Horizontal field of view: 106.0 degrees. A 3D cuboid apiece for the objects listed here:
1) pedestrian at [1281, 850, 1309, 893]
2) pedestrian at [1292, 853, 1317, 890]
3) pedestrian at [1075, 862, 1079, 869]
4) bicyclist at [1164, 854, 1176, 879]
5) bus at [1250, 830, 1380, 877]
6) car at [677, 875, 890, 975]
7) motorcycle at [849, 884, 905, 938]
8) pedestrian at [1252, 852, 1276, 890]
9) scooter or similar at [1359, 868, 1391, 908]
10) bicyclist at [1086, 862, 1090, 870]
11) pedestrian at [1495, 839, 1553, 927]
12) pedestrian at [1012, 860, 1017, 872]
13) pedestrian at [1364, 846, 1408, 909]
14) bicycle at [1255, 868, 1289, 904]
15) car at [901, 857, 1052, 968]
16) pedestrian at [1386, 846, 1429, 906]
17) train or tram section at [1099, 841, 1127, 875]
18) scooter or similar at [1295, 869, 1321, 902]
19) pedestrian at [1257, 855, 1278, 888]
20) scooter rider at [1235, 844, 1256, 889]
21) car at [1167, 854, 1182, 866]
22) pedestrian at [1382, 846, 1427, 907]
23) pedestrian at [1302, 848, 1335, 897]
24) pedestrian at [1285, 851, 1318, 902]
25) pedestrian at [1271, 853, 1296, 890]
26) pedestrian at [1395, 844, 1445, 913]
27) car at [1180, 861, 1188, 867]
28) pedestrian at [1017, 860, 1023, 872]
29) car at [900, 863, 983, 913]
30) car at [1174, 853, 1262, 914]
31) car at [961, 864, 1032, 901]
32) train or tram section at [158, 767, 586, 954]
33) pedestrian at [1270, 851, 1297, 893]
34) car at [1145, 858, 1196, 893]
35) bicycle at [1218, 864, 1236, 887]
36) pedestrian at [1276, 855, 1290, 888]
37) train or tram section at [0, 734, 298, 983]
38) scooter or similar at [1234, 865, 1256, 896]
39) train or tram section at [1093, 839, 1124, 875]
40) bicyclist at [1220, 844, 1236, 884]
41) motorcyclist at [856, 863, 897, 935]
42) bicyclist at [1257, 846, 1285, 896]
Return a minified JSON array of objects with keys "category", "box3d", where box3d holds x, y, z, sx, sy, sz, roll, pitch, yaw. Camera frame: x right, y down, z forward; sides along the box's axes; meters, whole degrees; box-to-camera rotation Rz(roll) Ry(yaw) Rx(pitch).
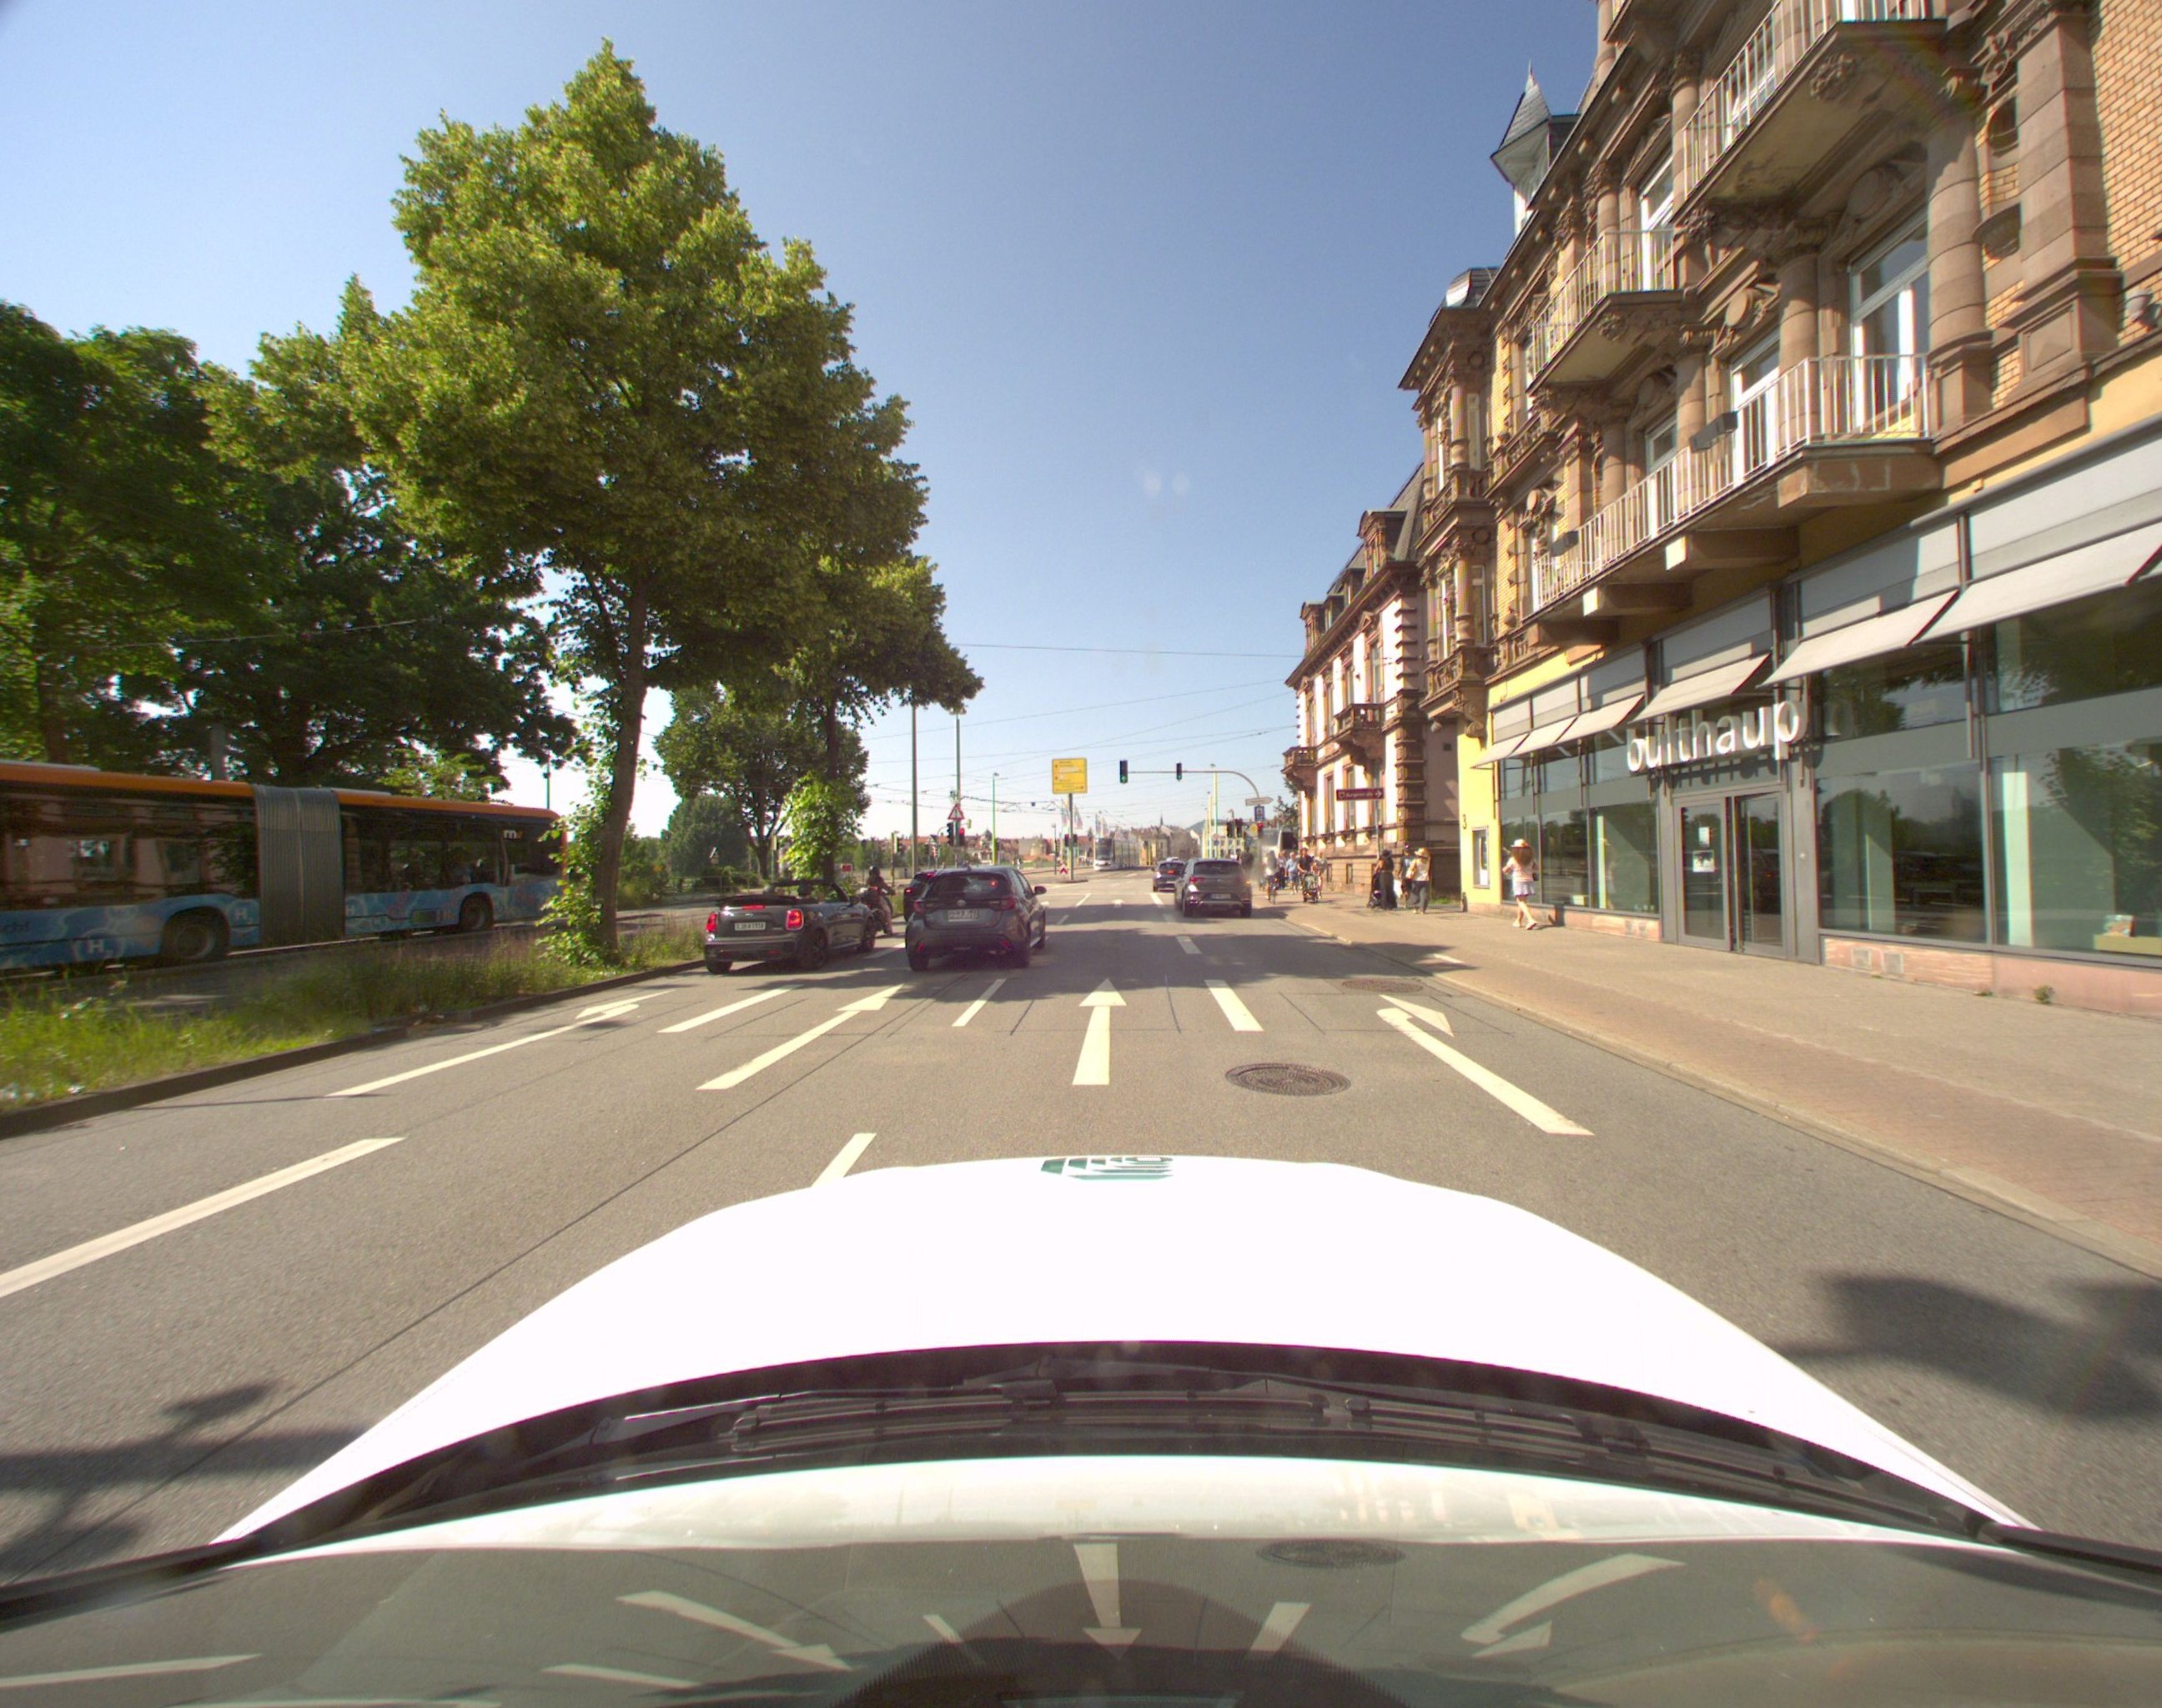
[{"category":"pedestrian","box3d":[8.321,0.674,31.730,0.859,1.640,0.876,1,-1,2]},{"category":"pedestrian","box3d":[9.906,0.773,36.169,0.859,1.640,0.876,1,-1,2]},{"category":"pedestrian","box3d":[-0.746,2.122,149.417,0.556,1.416,0.636,1,-1,1]},{"category":"bicyclist","box3d":[5.763,0.789,52.845,0.685,1.577,1.050,1,-1,2]},{"category":"bus","box3d":[15.753,0.029,54.583,8.658,2.777,2.953,2,-1,-27]},{"category":"car","box3d":[-4.771,1.084,13.758,1.807,1.332,4.004,-3,-2,4]},{"category":"motorcycle","box3d":[-4.531,1.253,18.229,0.696,1.064,1.910,-2,-1,1]},{"category":"pedestrian","box3d":[8.058,0.751,35.832,0.859,1.640,0.876,1,-1,2]},{"category":"scooter or similar","box3d":[8.083,0.929,22.401,0.598,1.047,0.800,1,-1,1]},{"category":"bicyclist","box3d":[1.338,2.325,155.805,0.556,1.537,0.744,1,-1,2]},{"category":"pedestrian","box3d":[8.427,0.535,15.524,0.652,1.621,0.816,-1,0,2]},{"category":"pedestrian","box3d":[-8.378,1.522,102.894,0.556,1.416,0.636,1,-1,1]},{"category":"pedestrian","box3d":[8.115,0.621,21.701,0.859,1.640,0.876,1,-1,2]},{"category":"bicycle","box3d":[6.116,1.006,26.170,0.731,1.093,1.899,1,-1,3]},{"category":"car","box3d":[-1.518,0.856,13.246,1.770,1.475,4.001,-2,-1,2]},{"category":"pedestrian","box3d":[9.065,0.608,22.641,0.859,1.640,0.876,1,-1,2]},{"category":"train or tram section","box3d":[3.911,0.511,98.141,2.809,3.777,8.238,1,-1,5]},{"category":"scooter or similar","box3d":[7.256,1.004,26.059,0.598,1.047,0.800,1,-1,1]},{"category":"pedestrian","box3d":[9.323,0.881,40.824,0.859,1.640,0.876,1,-1,2]},{"category":"scooter rider","box3d":[6.427,0.477,31.796,0.685,1.729,0.779,1,-1,5]},{"category":"car","box3d":[12.747,0.845,111.363,1.850,1.507,4.004,1,-1,4]},{"category":"pedestrian","box3d":[8.860,0.605,22.341,0.859,1.640,0.876,-1,-1,2]},{"category":"pedestrian","box3d":[8.084,0.628,27.780,0.859,1.640,0.876,-1,-1,2]},{"category":"pedestrian","box3d":[7.247,0.739,26.769,0.859,1.640,0.876,1,-1,2]},{"category":"pedestrian","box3d":[8.991,0.779,36.178,0.859,1.640,0.876,1,-1,2]},{"category":"pedestrian","box3d":[8.387,0.597,20.168,0.859,1.640,0.876,-1,-1,2]},{"category":"car","box3d":[25.644,2.493,202.569,1.850,1.507,4.004,1,-1,4]},{"category":"pedestrian","box3d":[-7.714,1.537,102.865,0.556,1.416,0.636,1,-1,1]},{"category":"car","box3d":[-4.015,0.966,24.021,1.445,1.301,4.004,1,-1,4]},{"category":"car","box3d":[3.668,0.789,22.485,1.866,1.493,4.001,1,-1,2]},{"category":"car","box3d":[-3.233,1.088,31.821,2.028,1.332,4.004,1,-1,4]},{"category":"train or tram section","box3d":[-16.381,0.172,20.045,2.810,3.581,8.234,1,-1,4]},{"category":"pedestrian","box3d":[8.122,0.730,32.719,0.859,1.640,0.876,1,-1,2]},{"category":"car","box3d":[4.164,0.989,38.322,1.987,1.493,4.000,1,-1,1]},{"category":"bicycle","box3d":[7.245,1.061,40.357,0.730,1.093,1.901,1,-1,6]},{"category":"pedestrian","box3d":[10.253,0.881,41.289,0.574,1.640,0.611,1,-1,2]},{"category":"train or tram section","box3d":[-17.043,0.023,10.882,2.810,3.581,10.042,1,-1,4]},{"category":"scooter or similar","box3d":[6.394,1.021,31.734,0.685,1.167,1.466,1,-1,5]},{"category":"train or tram section","box3d":[3.137,0.329,90.000,2.809,3.777,8.238,1,-1,5]},{"category":"bicyclist","box3d":[7.259,0.484,40.280,0.685,1.962,0.779,1,-1,5]},{"category":"motorcyclist","box3d":[-4.564,0.995,18.178,0.687,1.556,0.718,-2,-2,0]},{"category":"bicyclist","box3d":[6.126,0.556,26.280,0.685,1.577,1.050,1,-1,3]}]
